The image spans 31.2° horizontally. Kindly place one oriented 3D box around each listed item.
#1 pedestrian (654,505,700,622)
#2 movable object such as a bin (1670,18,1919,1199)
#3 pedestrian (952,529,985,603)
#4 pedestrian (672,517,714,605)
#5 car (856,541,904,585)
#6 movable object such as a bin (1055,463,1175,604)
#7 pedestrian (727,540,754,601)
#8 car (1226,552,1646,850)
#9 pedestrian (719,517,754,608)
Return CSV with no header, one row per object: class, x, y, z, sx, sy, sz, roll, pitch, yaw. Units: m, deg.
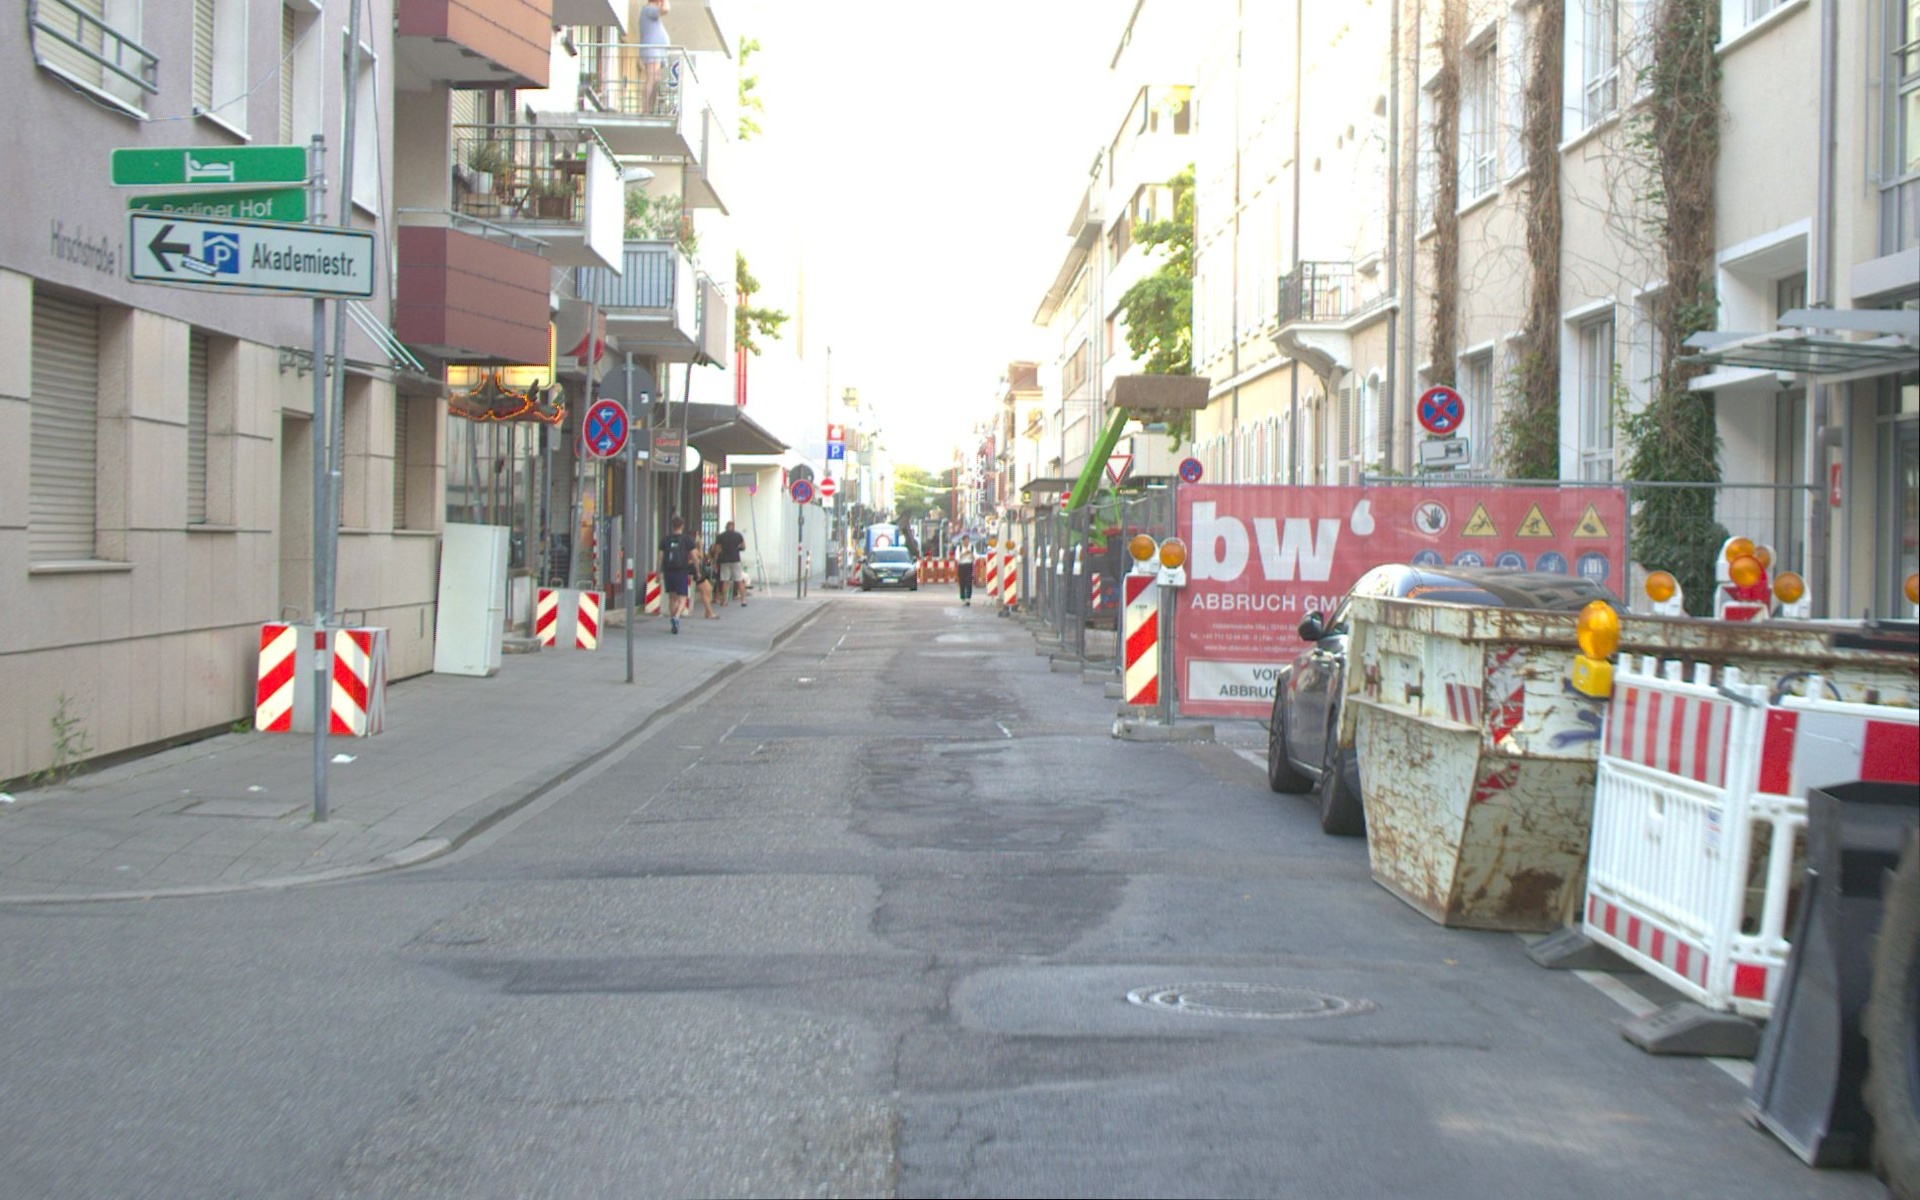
pedestrian,-4.409,-0.568,53.655,0.629,1.802,0.647,1,1,1
movable object such as a bin,3.046,0.130,6.423,2.166,2.587,5.543,1,1,-1
pedestrian,0.202,-0.808,80.868,0.720,1.734,0.647,1,1,-3
pedestrian,-4.782,-0.694,61.597,0.645,1.559,0.631,0,1,-15
car,-2.593,-1.220,111.753,1.474,1.393,3.332,1,1,-1
movable object such as a bin,3.591,-1.594,80.251,2.470,3.120,4.298,2,2,-1
pedestrian,-4.997,-0.679,78.332,0.558,1.386,0.893,0,1,-1
car,2.569,0.479,19.542,1.693,1.401,4.480,2,1,0
pedestrian,-4.637,-0.784,71.363,0.654,1.880,0.574,0,1,4
